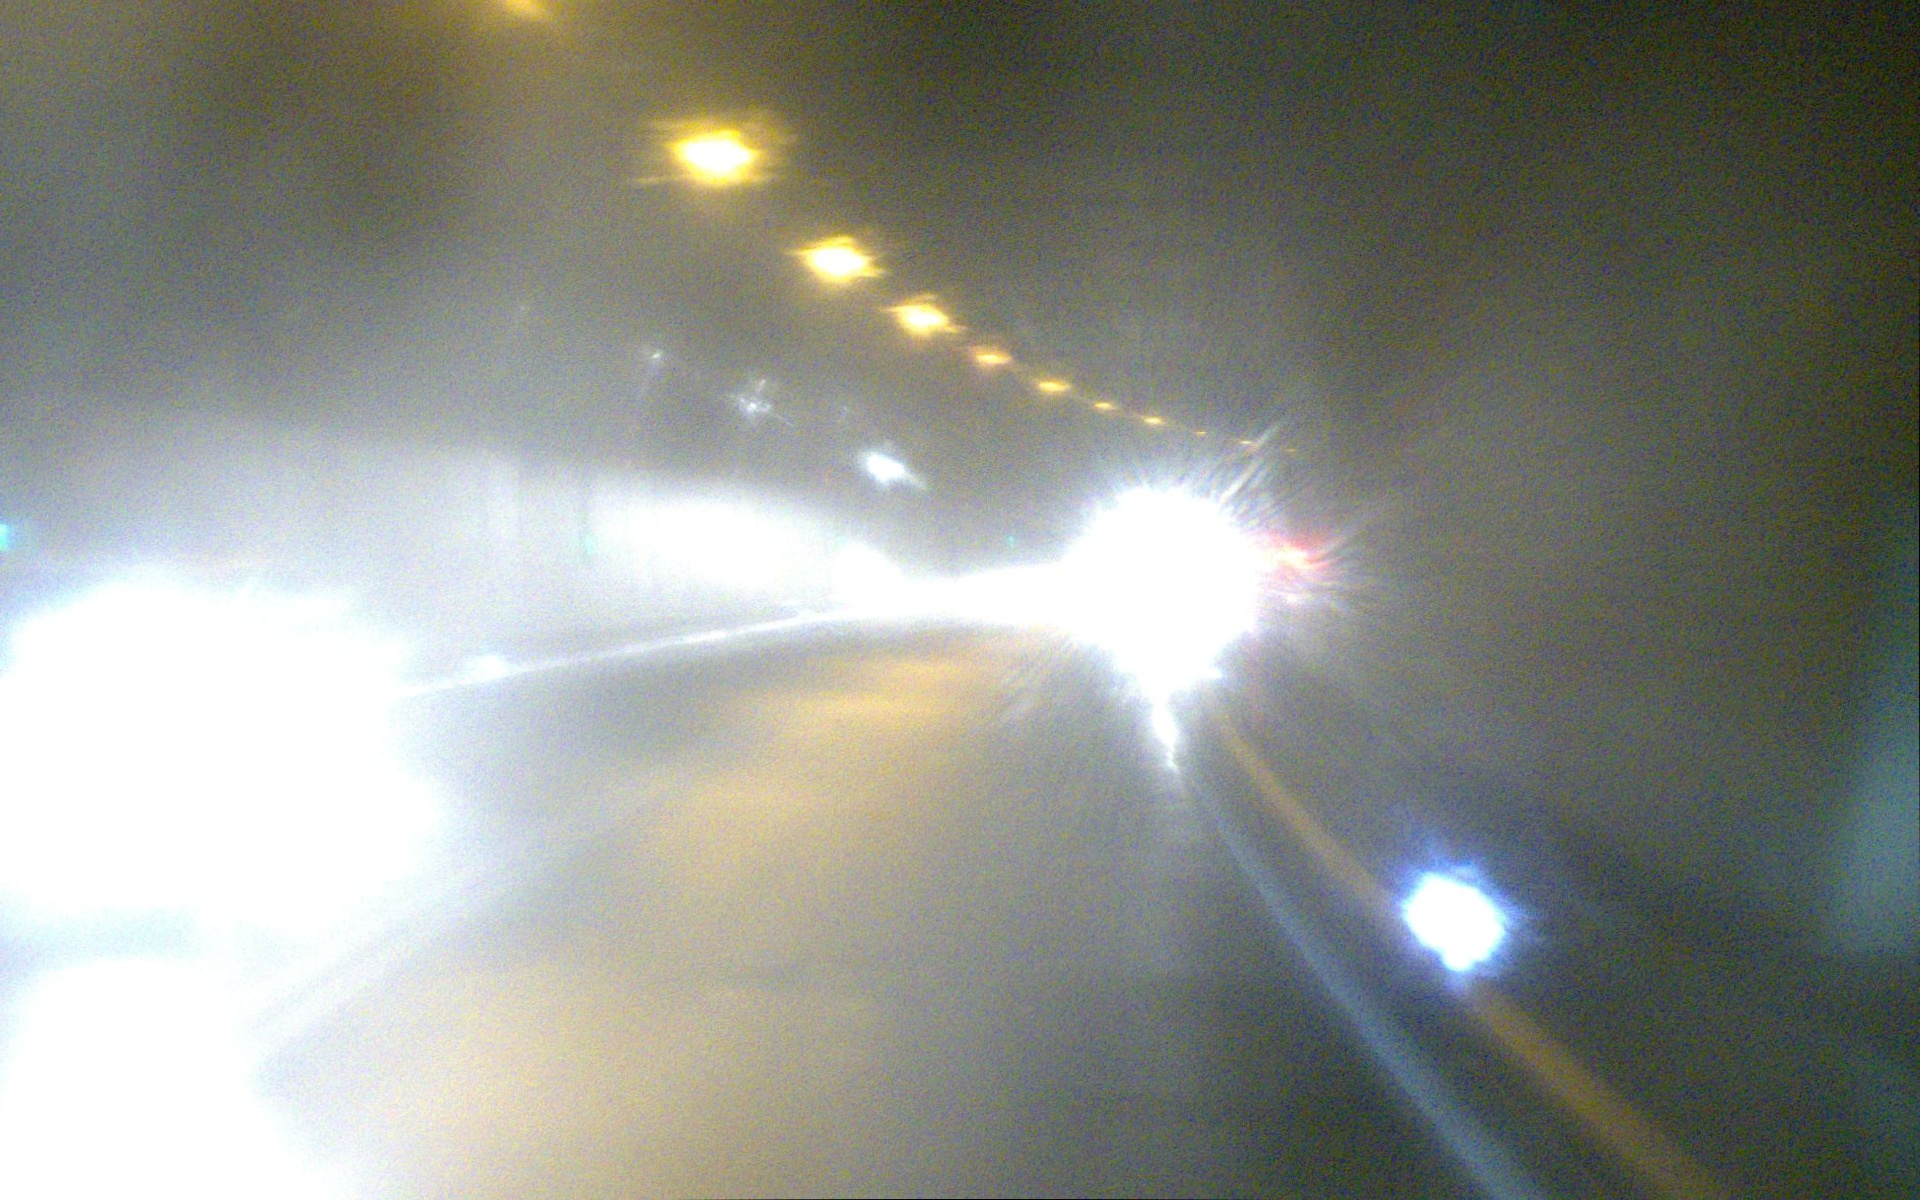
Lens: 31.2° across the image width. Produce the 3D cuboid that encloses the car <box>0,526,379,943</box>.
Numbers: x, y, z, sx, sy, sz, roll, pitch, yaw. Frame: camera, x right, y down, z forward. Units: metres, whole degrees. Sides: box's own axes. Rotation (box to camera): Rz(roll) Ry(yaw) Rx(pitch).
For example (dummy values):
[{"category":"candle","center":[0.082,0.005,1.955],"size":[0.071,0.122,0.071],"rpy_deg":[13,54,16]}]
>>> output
[{"category":"car","center":[-3.668,0.448,14.549],"size":[1.709,1.505,4.079],"rpy_deg":[1,1,0]}]

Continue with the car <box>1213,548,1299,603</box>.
[{"category":"car","center":[9.236,-0.774,106.955],"size":[1.995,1.645,3.997],"rpy_deg":[1,1,15]}]

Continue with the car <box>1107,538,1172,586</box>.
[{"category":"car","center":[5.511,-1.182,105.201],"size":[1.713,1.373,4.584],"rpy_deg":[2,1,6]}]
